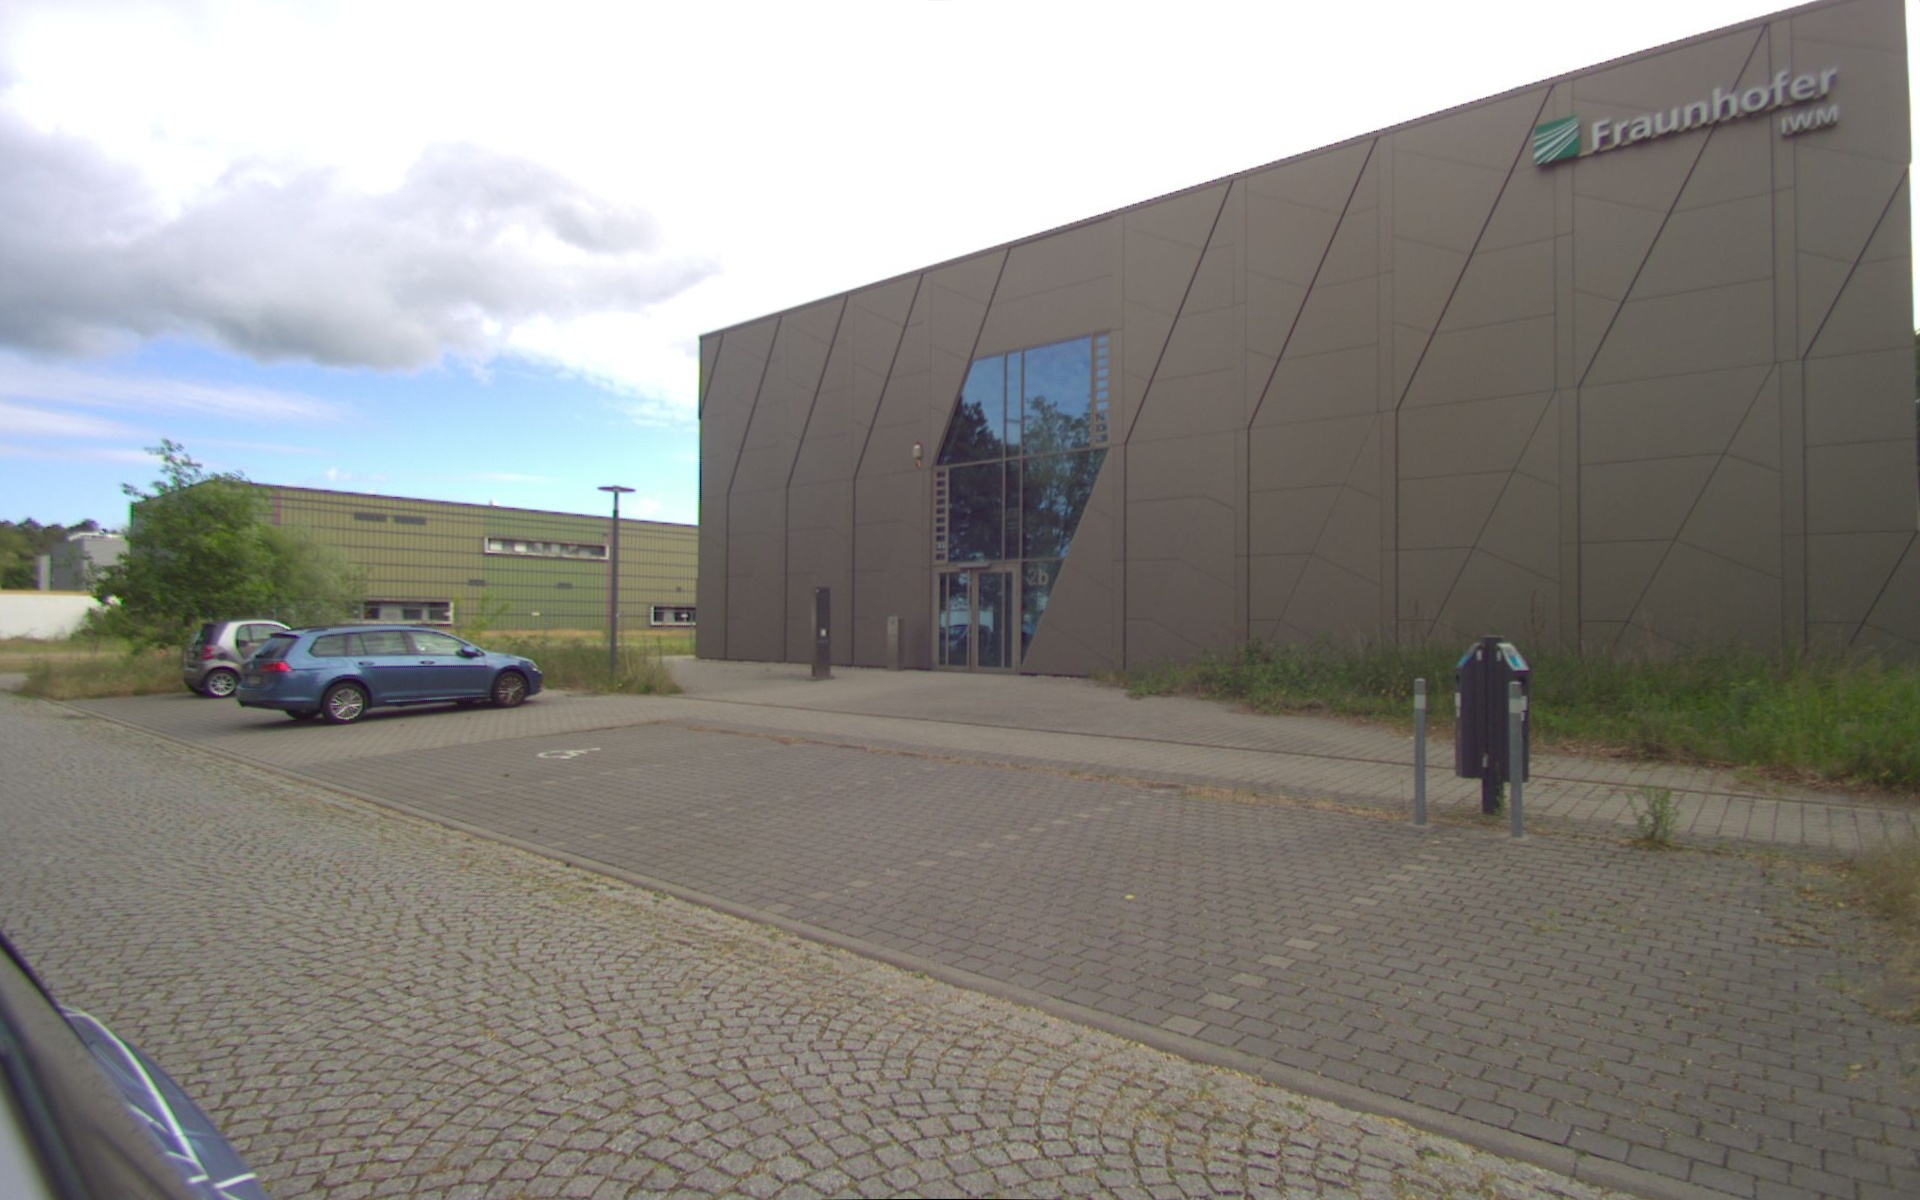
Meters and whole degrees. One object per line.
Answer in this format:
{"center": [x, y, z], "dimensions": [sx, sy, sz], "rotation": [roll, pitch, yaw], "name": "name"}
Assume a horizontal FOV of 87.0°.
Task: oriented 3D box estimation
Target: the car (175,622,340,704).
{"center": [-14.815, 1.266, 21.397], "dimensions": [1.498, 1.541, 2.553], "rotation": [-1, 0, 38], "name": "car"}

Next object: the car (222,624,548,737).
{"center": [-9.229, 1.191, 16.598], "dimensions": [1.631, 1.481, 4.373], "rotation": [-1, 0, 38], "name": "car"}
